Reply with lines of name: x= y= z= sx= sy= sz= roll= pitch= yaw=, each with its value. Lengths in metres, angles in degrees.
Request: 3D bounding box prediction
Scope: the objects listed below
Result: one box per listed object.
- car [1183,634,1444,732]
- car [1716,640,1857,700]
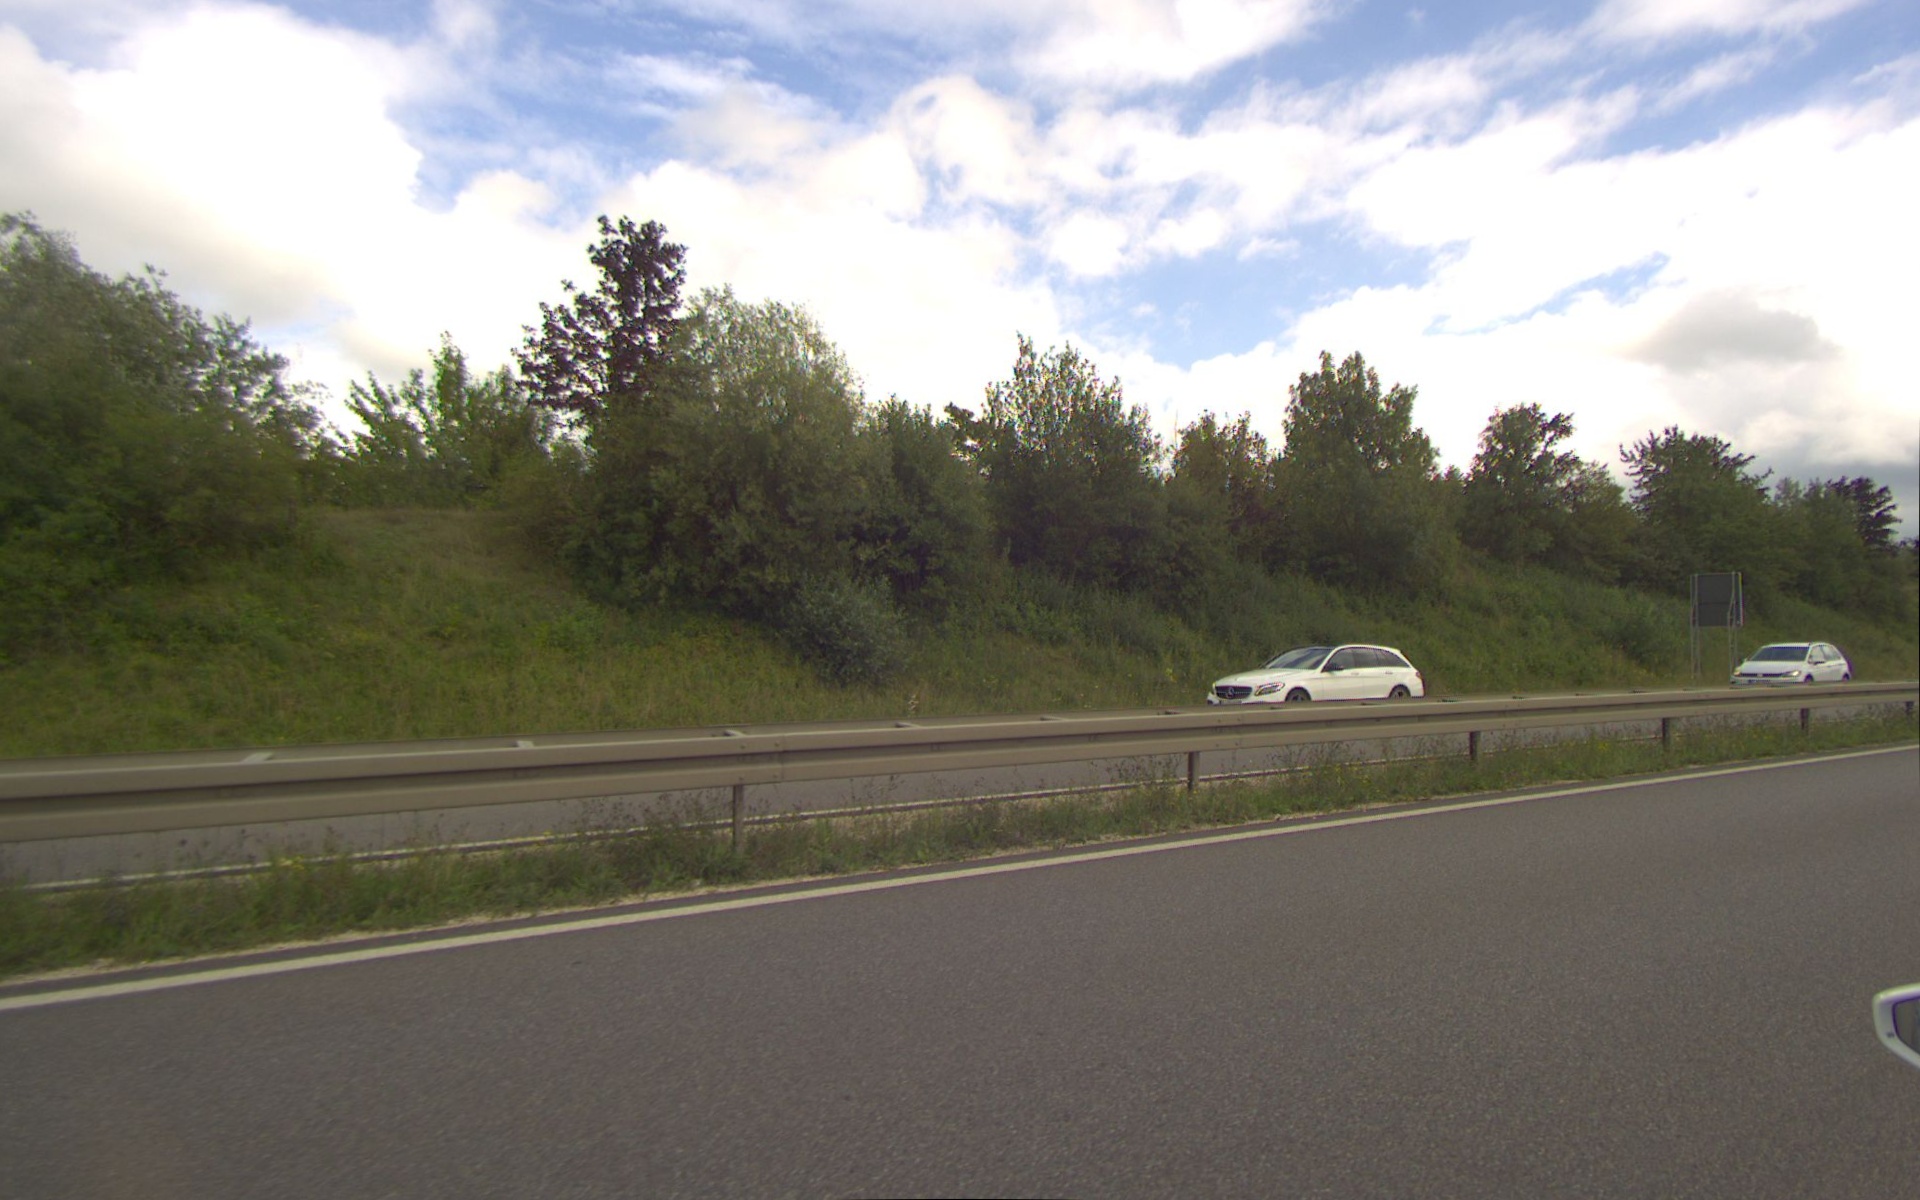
car: x=6.784 y=1.473 z=19.125 sx=4.930 sy=1.538 sz=1.984 roll=0 pitch=-1 yaw=-31
car: x=24.660 y=2.014 z=29.932 sx=4.413 sy=1.538 sz=1.911 roll=0 pitch=-1 yaw=-32
